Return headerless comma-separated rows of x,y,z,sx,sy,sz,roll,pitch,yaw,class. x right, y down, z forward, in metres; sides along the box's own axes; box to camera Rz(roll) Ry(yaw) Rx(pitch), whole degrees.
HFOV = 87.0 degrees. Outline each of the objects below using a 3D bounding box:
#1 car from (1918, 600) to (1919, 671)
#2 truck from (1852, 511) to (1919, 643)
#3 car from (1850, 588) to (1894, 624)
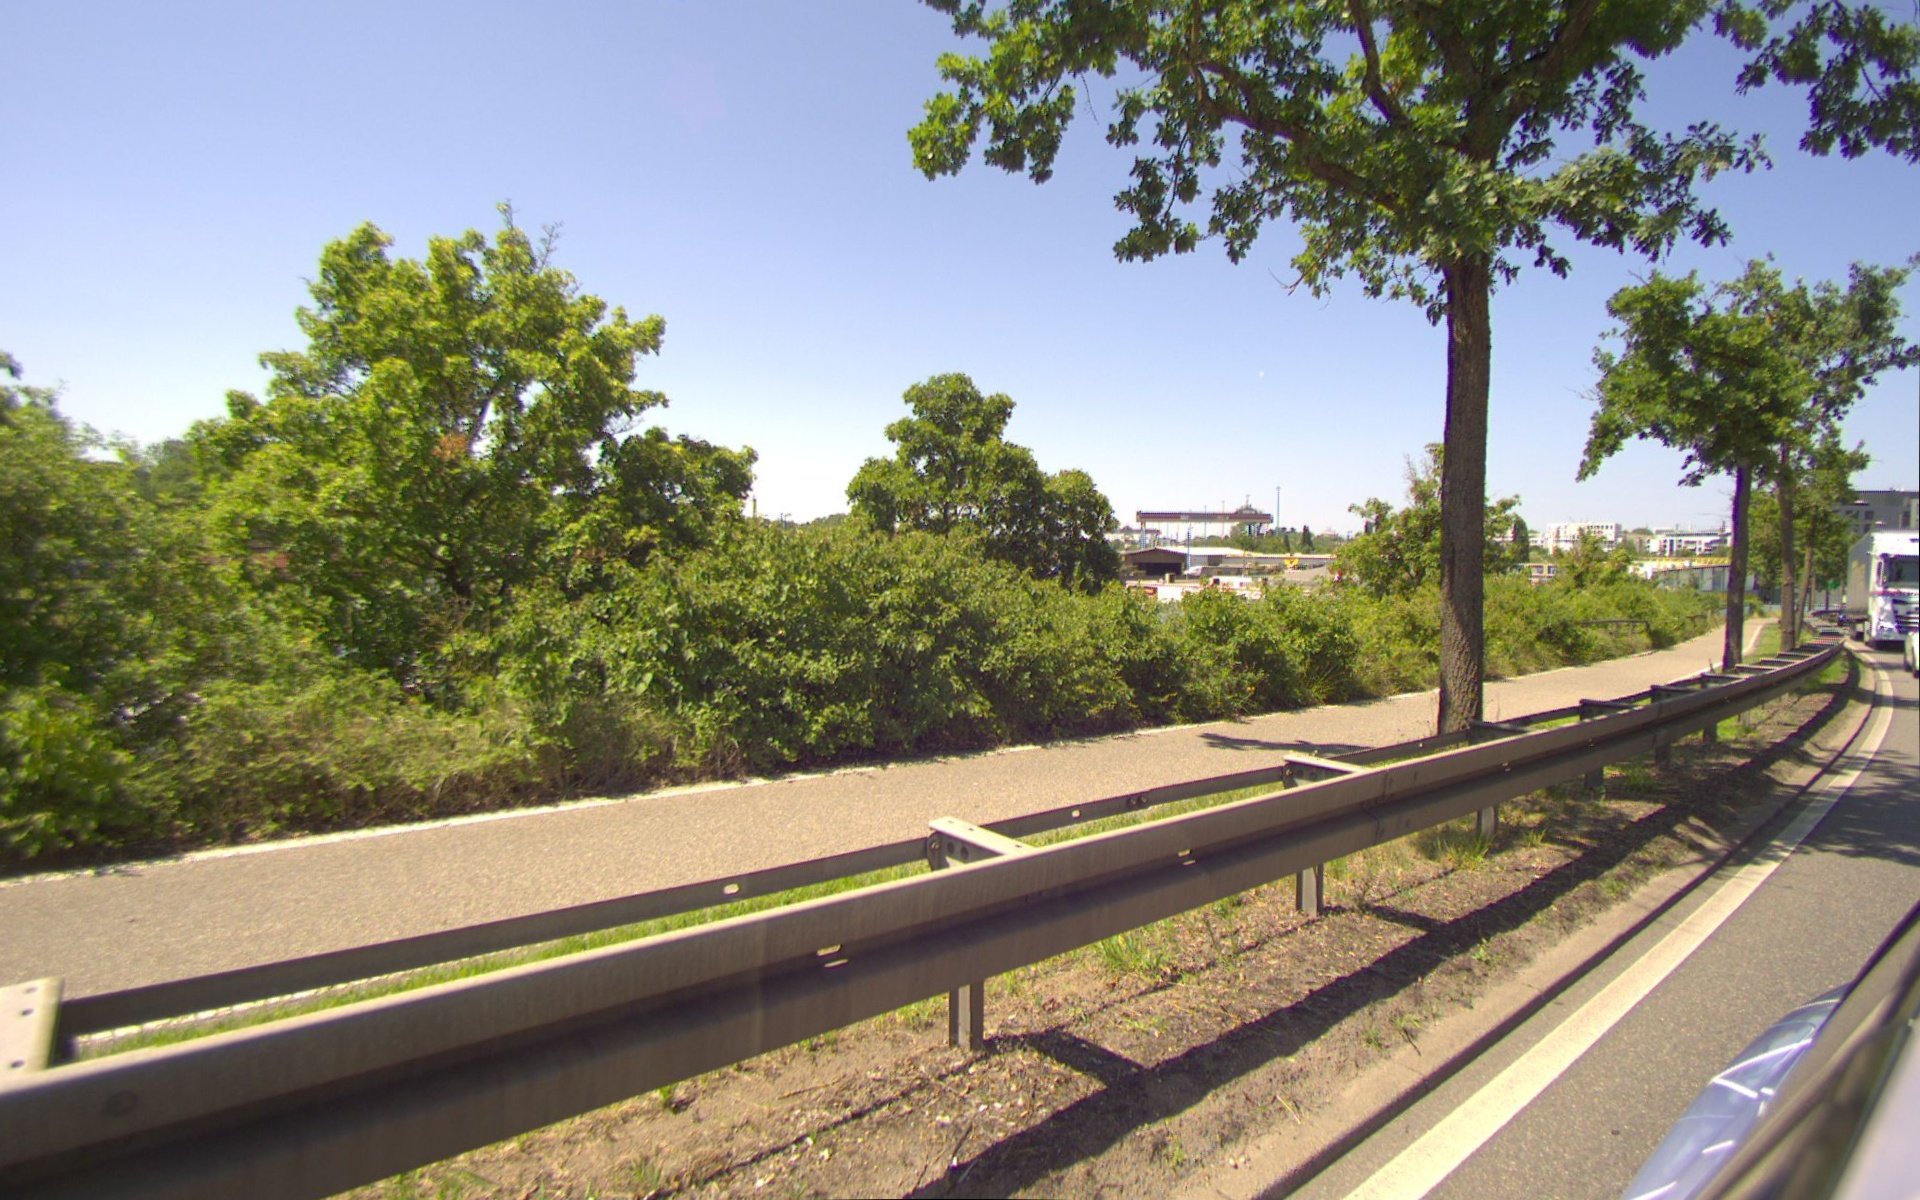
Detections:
21.402,0.720,21.227,3.935,1.424,1.777,0,0,-45,car
36.525,-0.777,38.581,3.057,4.223,16.672,0,0,39,truck
53.390,0.333,59.311,1.773,2.039,3.941,0,0,40,car
